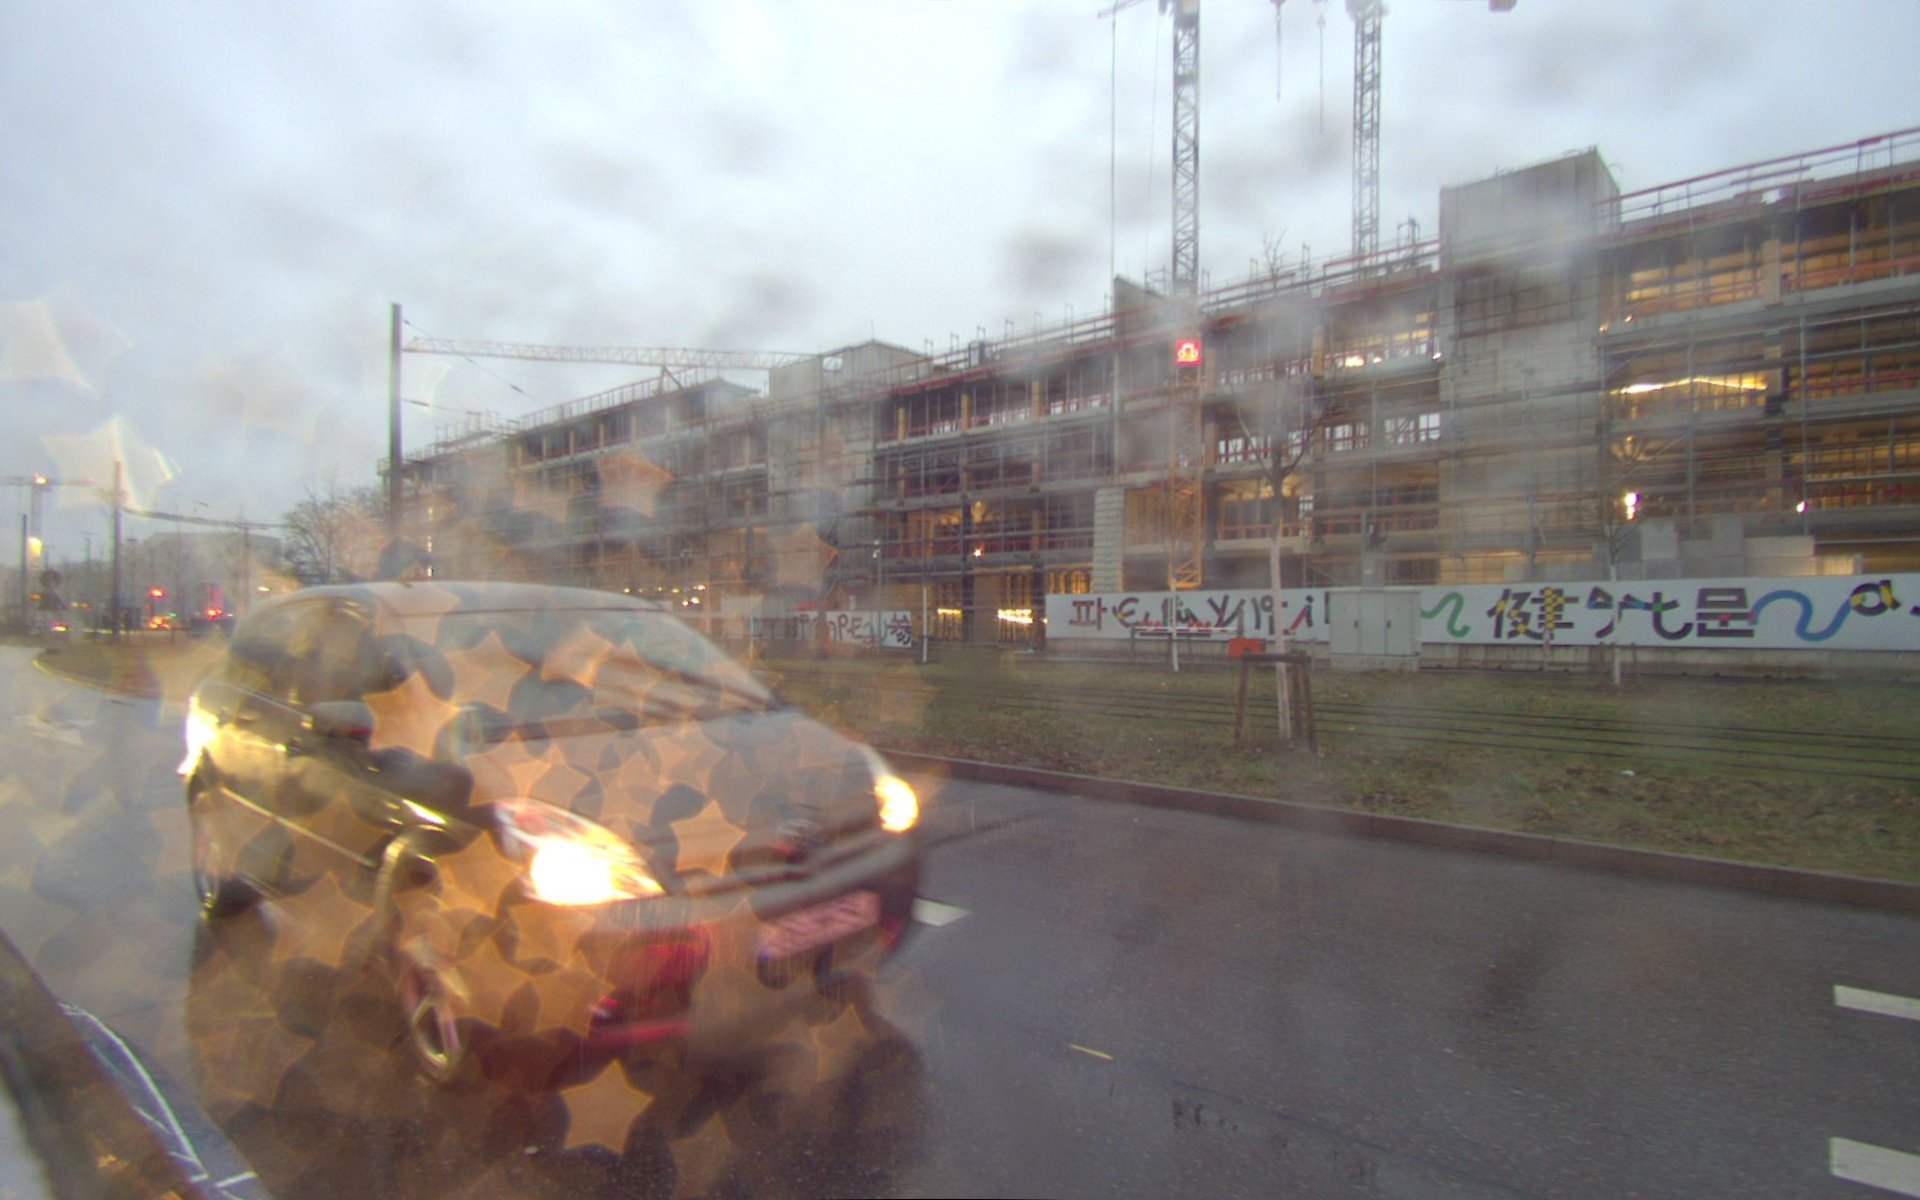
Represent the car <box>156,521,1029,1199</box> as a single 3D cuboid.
[{"bbox_3d":[-1.899,0.675,4.490,4.131,1.659,1.793,-1,-1,39],"label":"car"}]
